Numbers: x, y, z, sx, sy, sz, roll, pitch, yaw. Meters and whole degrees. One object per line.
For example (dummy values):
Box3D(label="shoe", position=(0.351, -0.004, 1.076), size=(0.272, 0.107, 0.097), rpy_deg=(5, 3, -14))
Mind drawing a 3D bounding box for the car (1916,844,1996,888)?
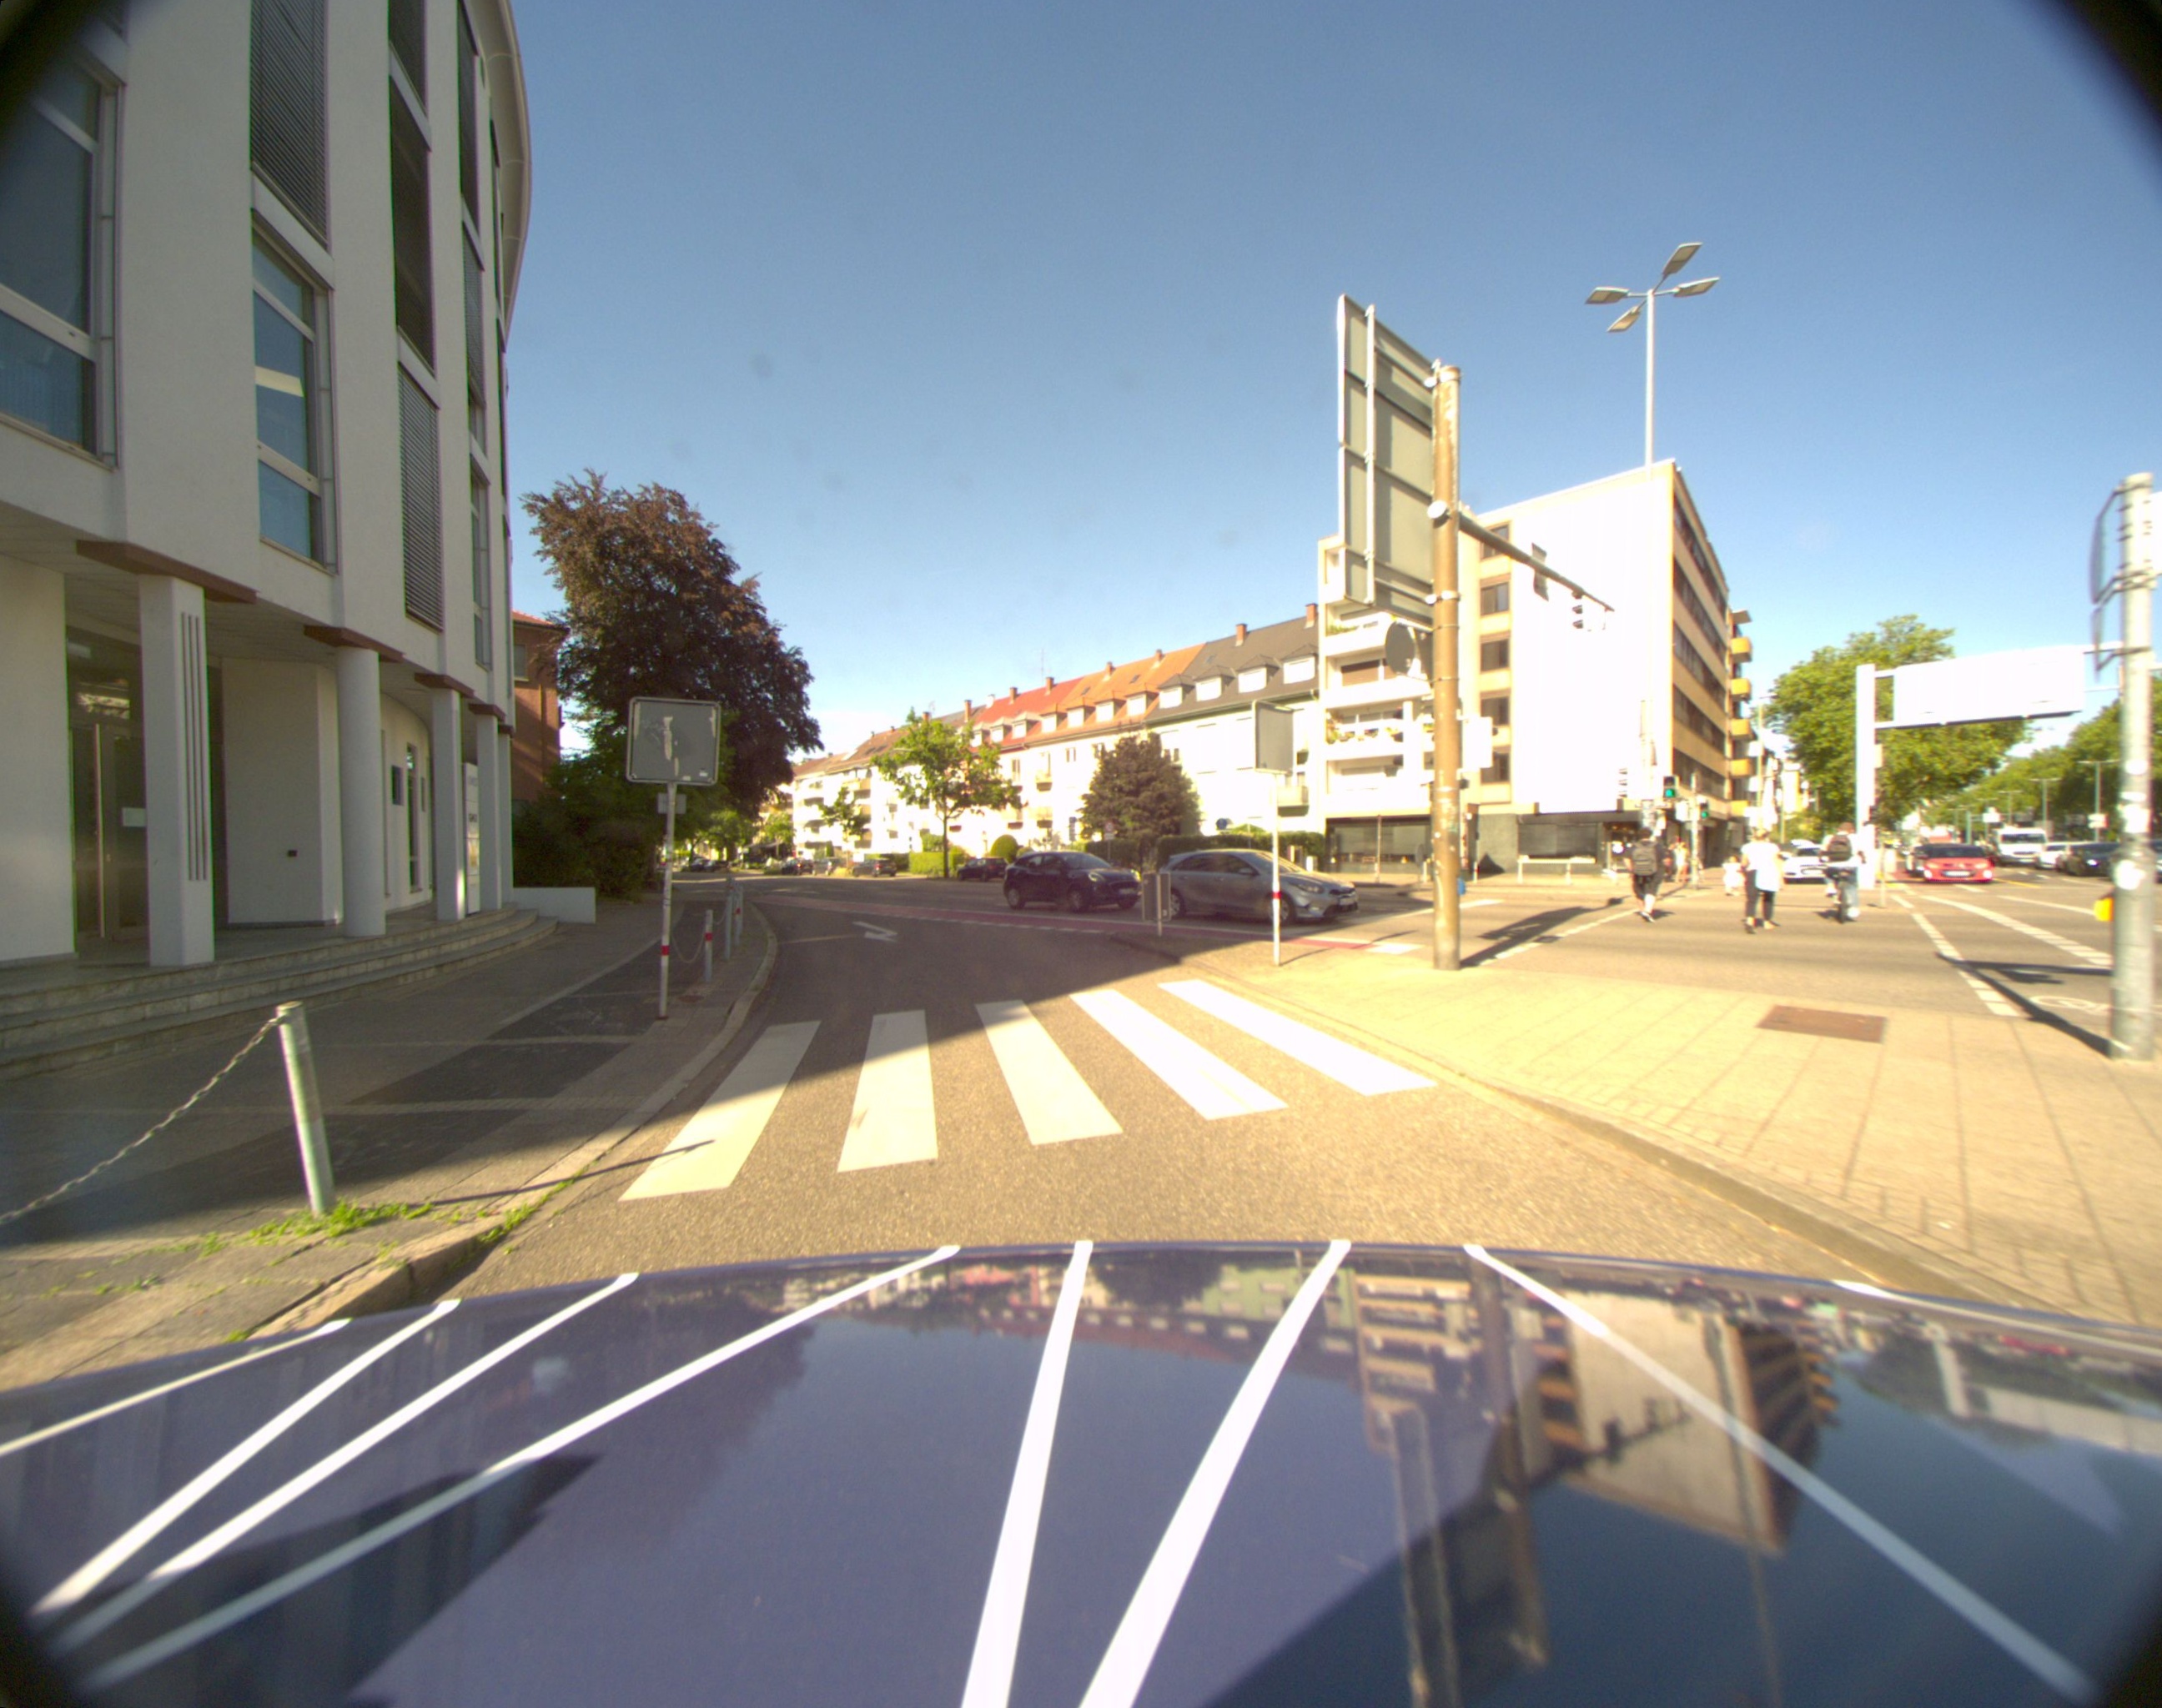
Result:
Box3D(label="car", position=(32.989, 0.423, 28.659), size=(4.008, 1.510, 1.879), rpy_deg=(-2, 1, -40))

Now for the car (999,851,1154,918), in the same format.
Box3D(label="car", position=(-0.213, 0.726, 19.575), size=(1.700, 1.483, 4.064), rpy_deg=(-2, 1, -41))

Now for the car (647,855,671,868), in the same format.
Box3D(label="car", position=(-53.671, 0.893, 96.676), size=(1.809, 1.552, 4.155), rpy_deg=(-1, 1, -41))

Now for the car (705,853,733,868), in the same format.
Box3D(label="car", position=(-41.983, 0.798, 88.050), size=(1.808, 1.553, 3.913), rpy_deg=(-5, 3, -41))

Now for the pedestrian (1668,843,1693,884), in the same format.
Box3D(label="pedestrian", position=(25.108, 0.382, 31.820), size=(0.718, 1.670, 0.698), rpy_deg=(-1, 3, 44))

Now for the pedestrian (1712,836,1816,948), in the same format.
Box3D(label="pedestrian", position=(10.453, 0.554, 11.661), size=(0.786, 1.599, 0.930), rpy_deg=(-3, 2, 8))

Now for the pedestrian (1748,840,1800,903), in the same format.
Box3D(label="pedestrian", position=(18.705, 0.467, 20.520), size=(0.722, 1.613, 0.896), rpy_deg=(-5, 3, -37))

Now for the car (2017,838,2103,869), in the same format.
Box3D(label="car", position=(50.979, -0.041, 39.666), size=(1.879, 1.510, 4.008), rpy_deg=(0, 1, 39))

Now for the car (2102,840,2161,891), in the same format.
Box3D(label="car", position=(37.563, 0.366, 26.607), size=(4.006, 1.510, 1.879), rpy_deg=(-5, 3, -40))

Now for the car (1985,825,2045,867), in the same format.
Box3D(label="car", position=(57.522, -0.493, 46.872), size=(1.879, 2.498, 4.460), rpy_deg=(0, 1, 45))

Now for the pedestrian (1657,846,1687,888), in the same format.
Box3D(label="pedestrian", position=(24.192, 0.525, 31.102), size=(0.718, 1.670, 0.697), rpy_deg=(-3, 2, 16))

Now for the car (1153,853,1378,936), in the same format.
Box3D(label="car", position=(3.587, 0.729, 15.315), size=(1.888, 1.400, 4.046), rpy_deg=(-2, 1, -41))

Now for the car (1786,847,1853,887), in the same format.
Box3D(label="car", position=(30.585, 0.542, 31.470), size=(1.879, 1.510, 4.560), rpy_deg=(-1, -1, 45))

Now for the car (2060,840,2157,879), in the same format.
Box3D(label="car", position=(43.228, 0.197, 32.062), size=(4.008, 1.510, 1.879), rpy_deg=(-1, 1, -44))

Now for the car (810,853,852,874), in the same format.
Box3D(label="car", position=(-21.186, 0.807, 64.357), size=(1.808, 1.553, 4.155), rpy_deg=(-5, 3, -41))

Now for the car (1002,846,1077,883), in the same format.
Box3D(label="car", position=(-2.371, 0.583, 42.678), size=(4.155, 1.847, 1.808), rpy_deg=(-1, 3, 45))

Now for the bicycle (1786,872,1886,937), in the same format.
Box3D(label="bicycle", position=(12.939, 0.832, 13.013), size=(1.906, 0.984, 0.865), rpy_deg=(-1, 0, -34))

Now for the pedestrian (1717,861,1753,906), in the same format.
Box3D(label="pedestrian", position=(18.283, 0.804, 21.228), size=(0.527, 1.196, 0.646), rpy_deg=(-5, 3, -37))

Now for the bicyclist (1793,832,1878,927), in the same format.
Box3D(label="bicyclist", position=(12.829, 0.409, 12.925), size=(0.854, 1.525, 0.868), rpy_deg=(-3, 2, -33))

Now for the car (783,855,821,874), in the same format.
Box3D(label="car", position=(-25.330, 0.982, 68.916), size=(1.808, 1.553, 4.155), rpy_deg=(-5, 3, -41))

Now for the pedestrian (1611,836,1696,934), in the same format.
Box3D(label="pedestrian", position=(10.147, 0.519, 13.502), size=(0.796, 1.634, 0.985), rpy_deg=(-3, 2, 8))

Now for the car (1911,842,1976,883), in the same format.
Box3D(label="car", position=(39.205, 0.351, 34.520), size=(4.006, 1.510, 1.879), rpy_deg=(-5, 3, -40))

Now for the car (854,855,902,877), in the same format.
Box3D(label="car", position=(-15.348, 0.887, 57.302), size=(1.808, 1.449, 3.994), rpy_deg=(-5, 3, -41))

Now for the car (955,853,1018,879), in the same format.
Box3D(label="car", position=(-5.812, 0.725, 46.477), size=(1.808, 1.422, 4.039), rpy_deg=(-5, 3, -41))

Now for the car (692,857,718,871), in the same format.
Box3D(label="car", position=(-45.717, 1.233, 92.262), size=(1.808, 1.553, 3.913), rpy_deg=(-5, 3, -41))
